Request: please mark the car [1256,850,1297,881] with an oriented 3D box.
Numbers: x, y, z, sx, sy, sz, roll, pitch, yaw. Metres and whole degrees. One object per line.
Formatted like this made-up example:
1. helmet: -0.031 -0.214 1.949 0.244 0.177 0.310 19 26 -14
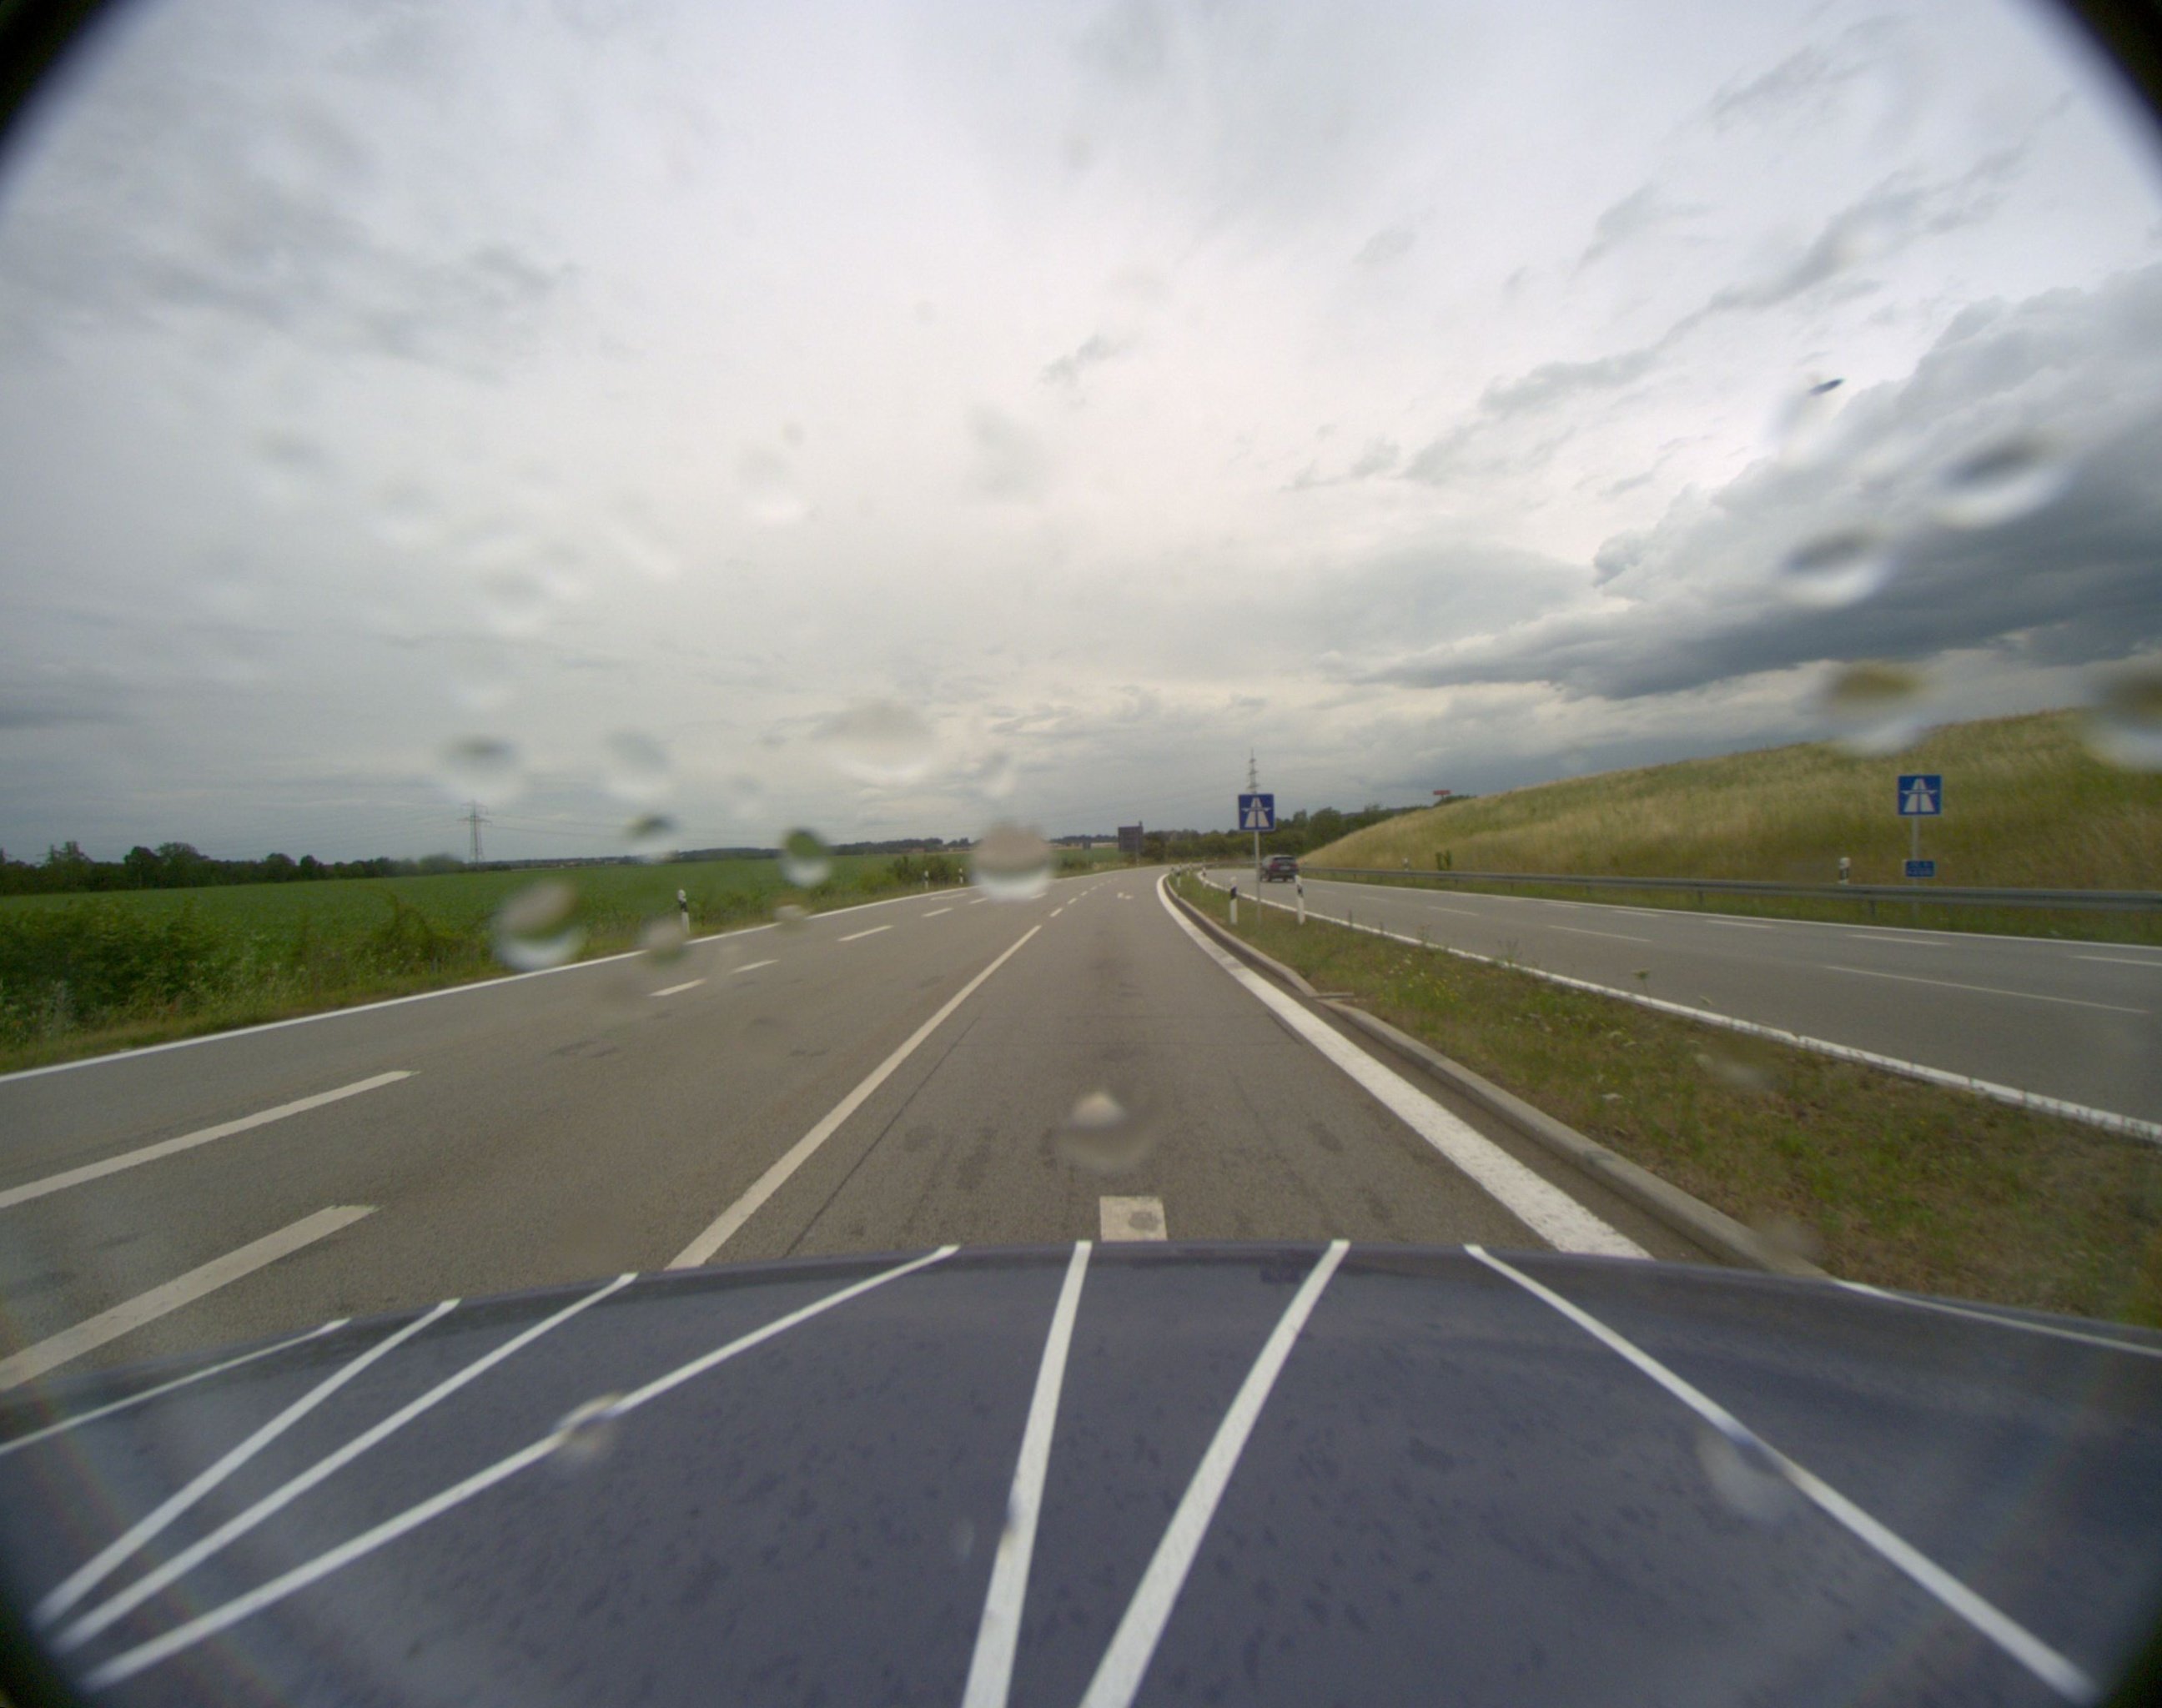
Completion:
1. car: 11.659 0.666 45.506 1.997 1.674 4.116 -2 1 10
